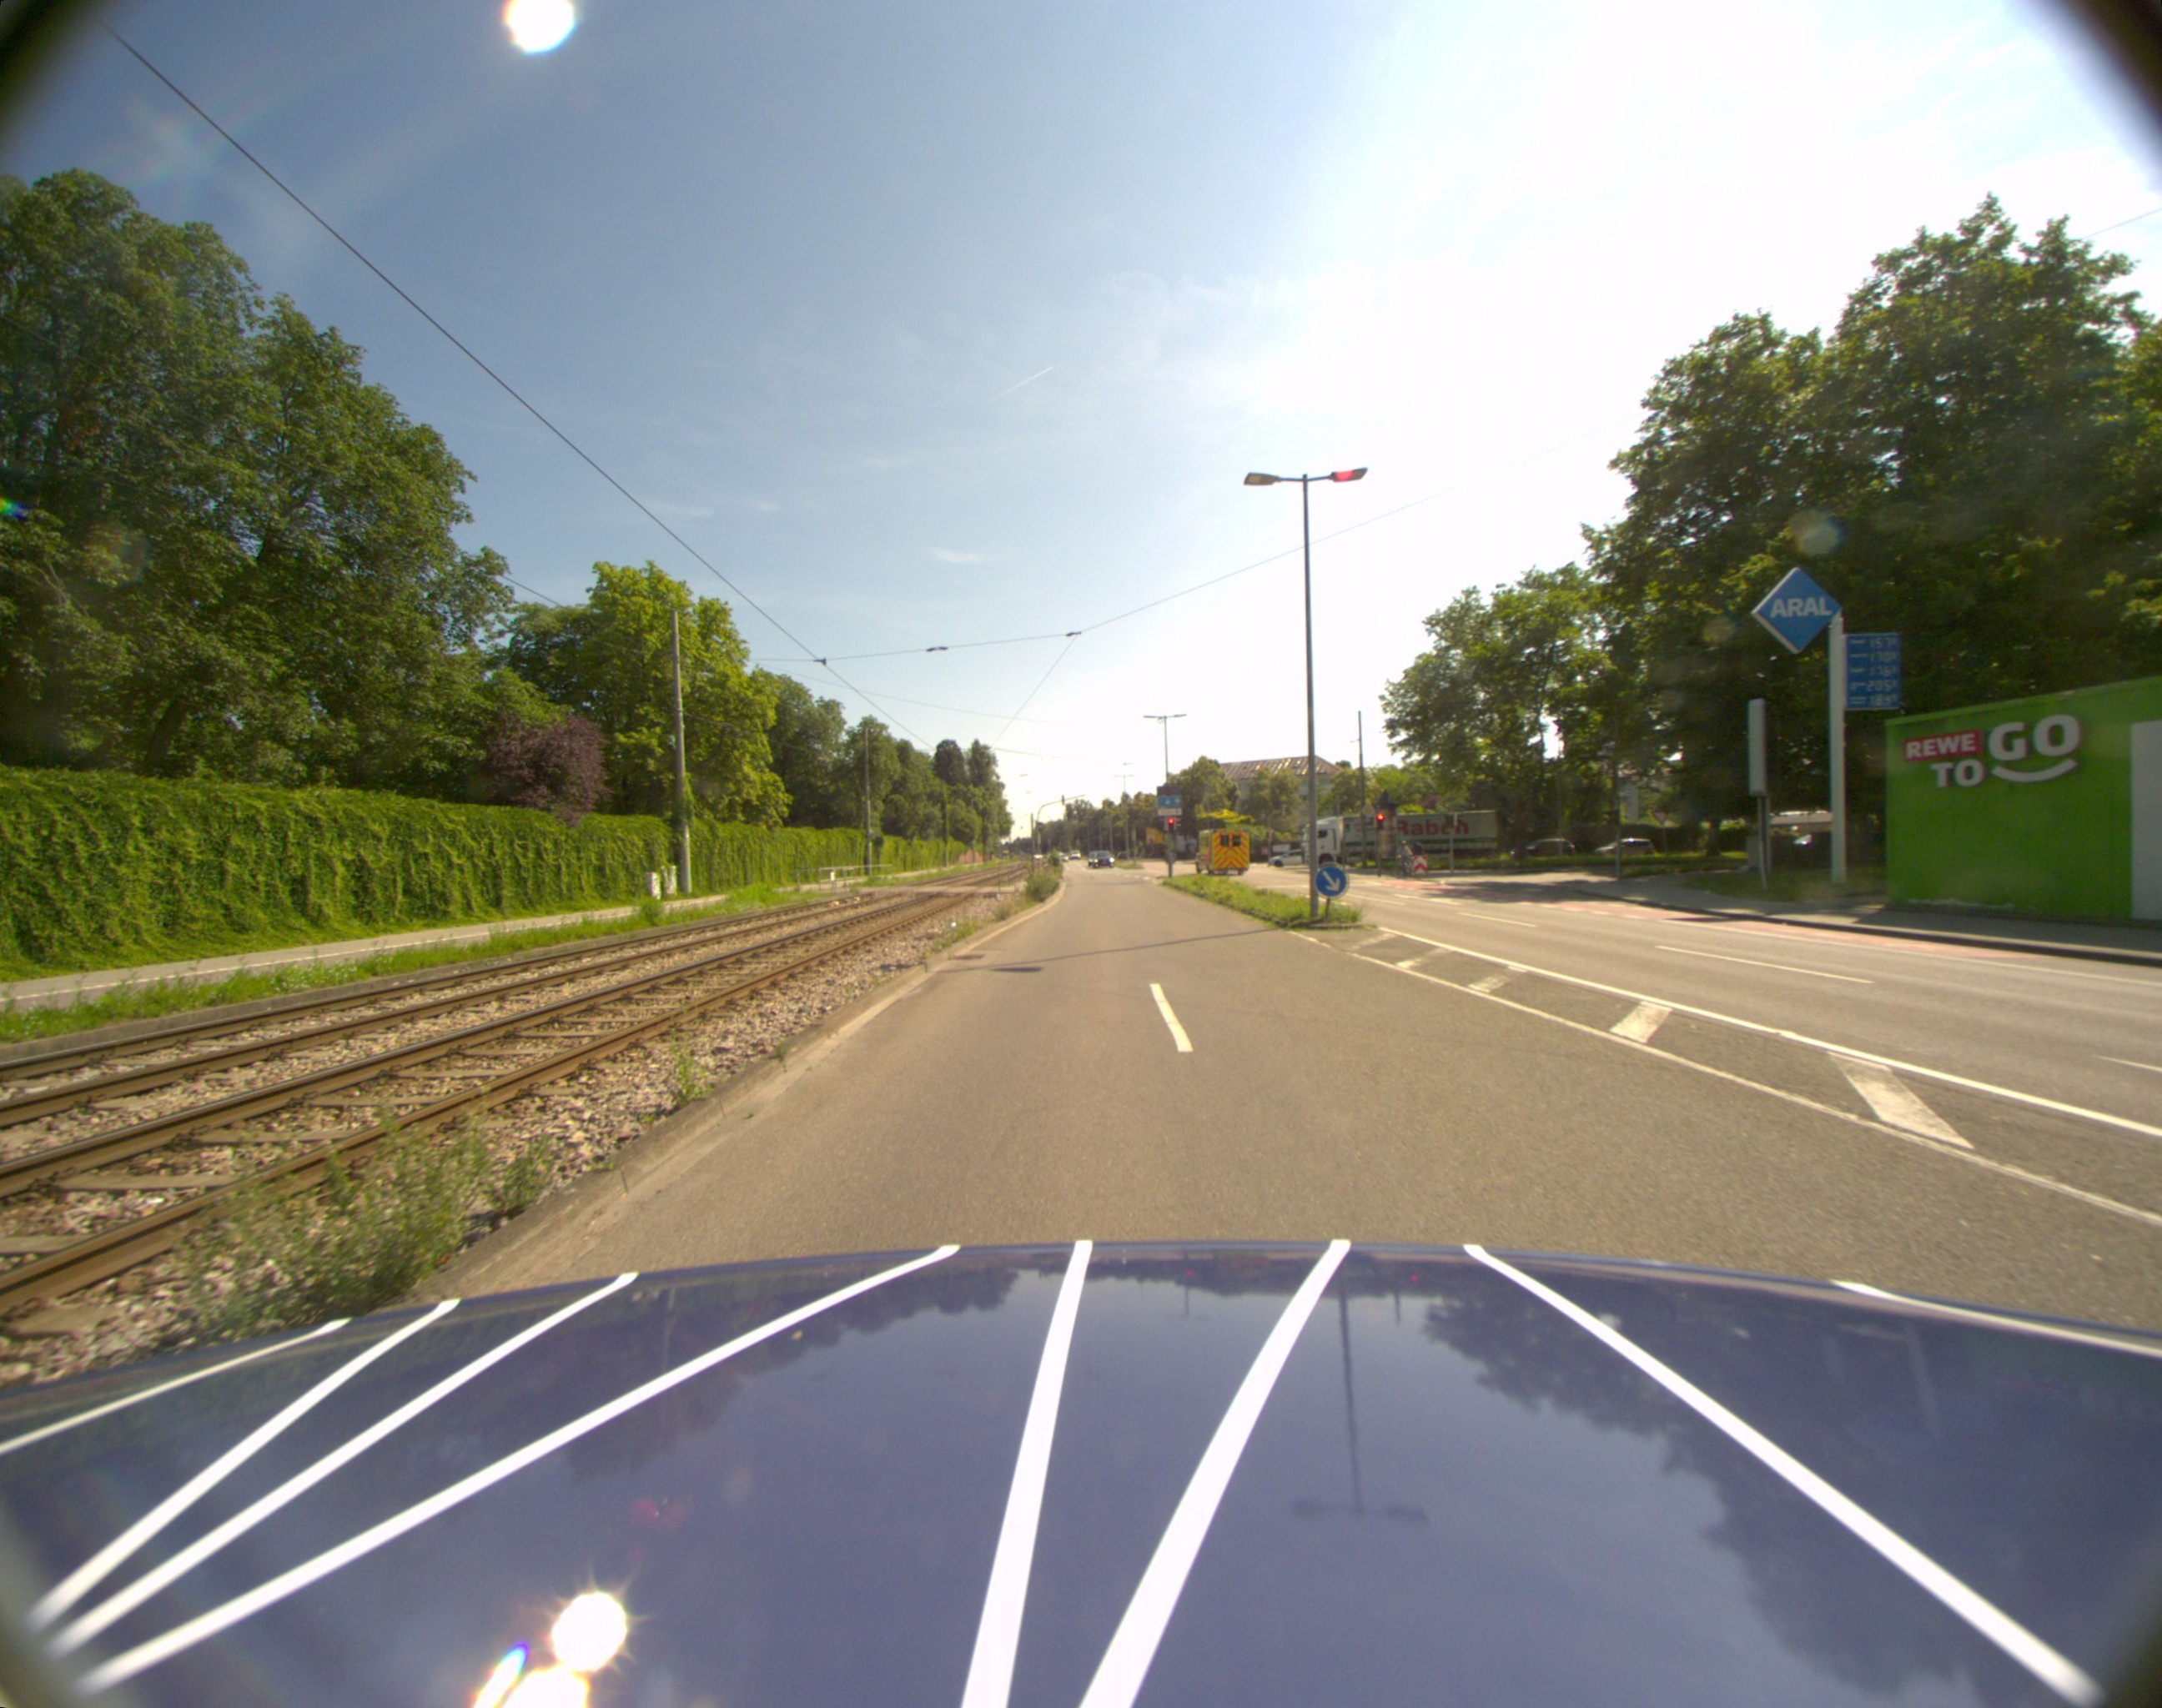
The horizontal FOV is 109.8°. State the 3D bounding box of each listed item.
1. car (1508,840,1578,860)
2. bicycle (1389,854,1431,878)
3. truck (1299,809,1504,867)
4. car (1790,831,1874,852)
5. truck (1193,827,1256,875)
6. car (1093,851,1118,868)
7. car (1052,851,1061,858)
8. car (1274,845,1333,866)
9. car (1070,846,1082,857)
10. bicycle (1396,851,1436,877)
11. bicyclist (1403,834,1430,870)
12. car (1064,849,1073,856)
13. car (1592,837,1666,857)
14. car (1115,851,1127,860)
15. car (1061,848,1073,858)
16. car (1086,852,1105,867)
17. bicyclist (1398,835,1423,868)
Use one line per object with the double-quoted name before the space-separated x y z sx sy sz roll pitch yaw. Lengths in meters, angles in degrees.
"car" 36.567 -0.321 60.270 4.365 1.360 1.758 -2 -1 8
"bicycle" 14.893 0.526 34.467 0.753 1.052 2.074 -2 0 -9
"truck" 24.336 -1.191 58.337 14.286 3.984 2.855 -1 1 5
"car" 57.485 -0.958 58.226 4.365 1.360 1.758 -2 -1 8
"truck" 8.447 -0.180 45.542 2.336 2.652 7.358 -1 0 0
"car" 2.268 0.488 72.055 1.756 1.573 4.503 -2 0 -5
"car" -6.147 0.076 190.194 1.931 1.593 4.466 -2 1 -4
"car" 18.518 0.130 63.244 4.387 1.501 1.759 -3 -1 27
"car" -0.996 -0.539 162.191 2.265 2.336 5.228 -2 1 -3
"bicycle" 15.962 0.439 36.249 0.940 1.168 2.211 -1 0 1
"bicyclist" 15.936 -0.104 36.090 0.837 1.664 0.827 -2 -1 0
"car" -2.958 -0.440 181.883 1.931 1.593 4.466 -2 1 -4
"car" 43.063 -0.572 59.770 4.365 1.360 1.758 -2 -1 8
"car" 7.415 0.287 140.406 1.755 1.573 4.504 0 0 -3
"car" -2.462 -0.227 130.597 1.931 1.593 4.467 -2 1 -1
"car" 1.549 0.571 82.247 1.755 1.573 4.504 -1 0 -3
"bicyclist" 14.862 -0.106 34.278 0.710 1.412 0.739 -2 -1 -9
